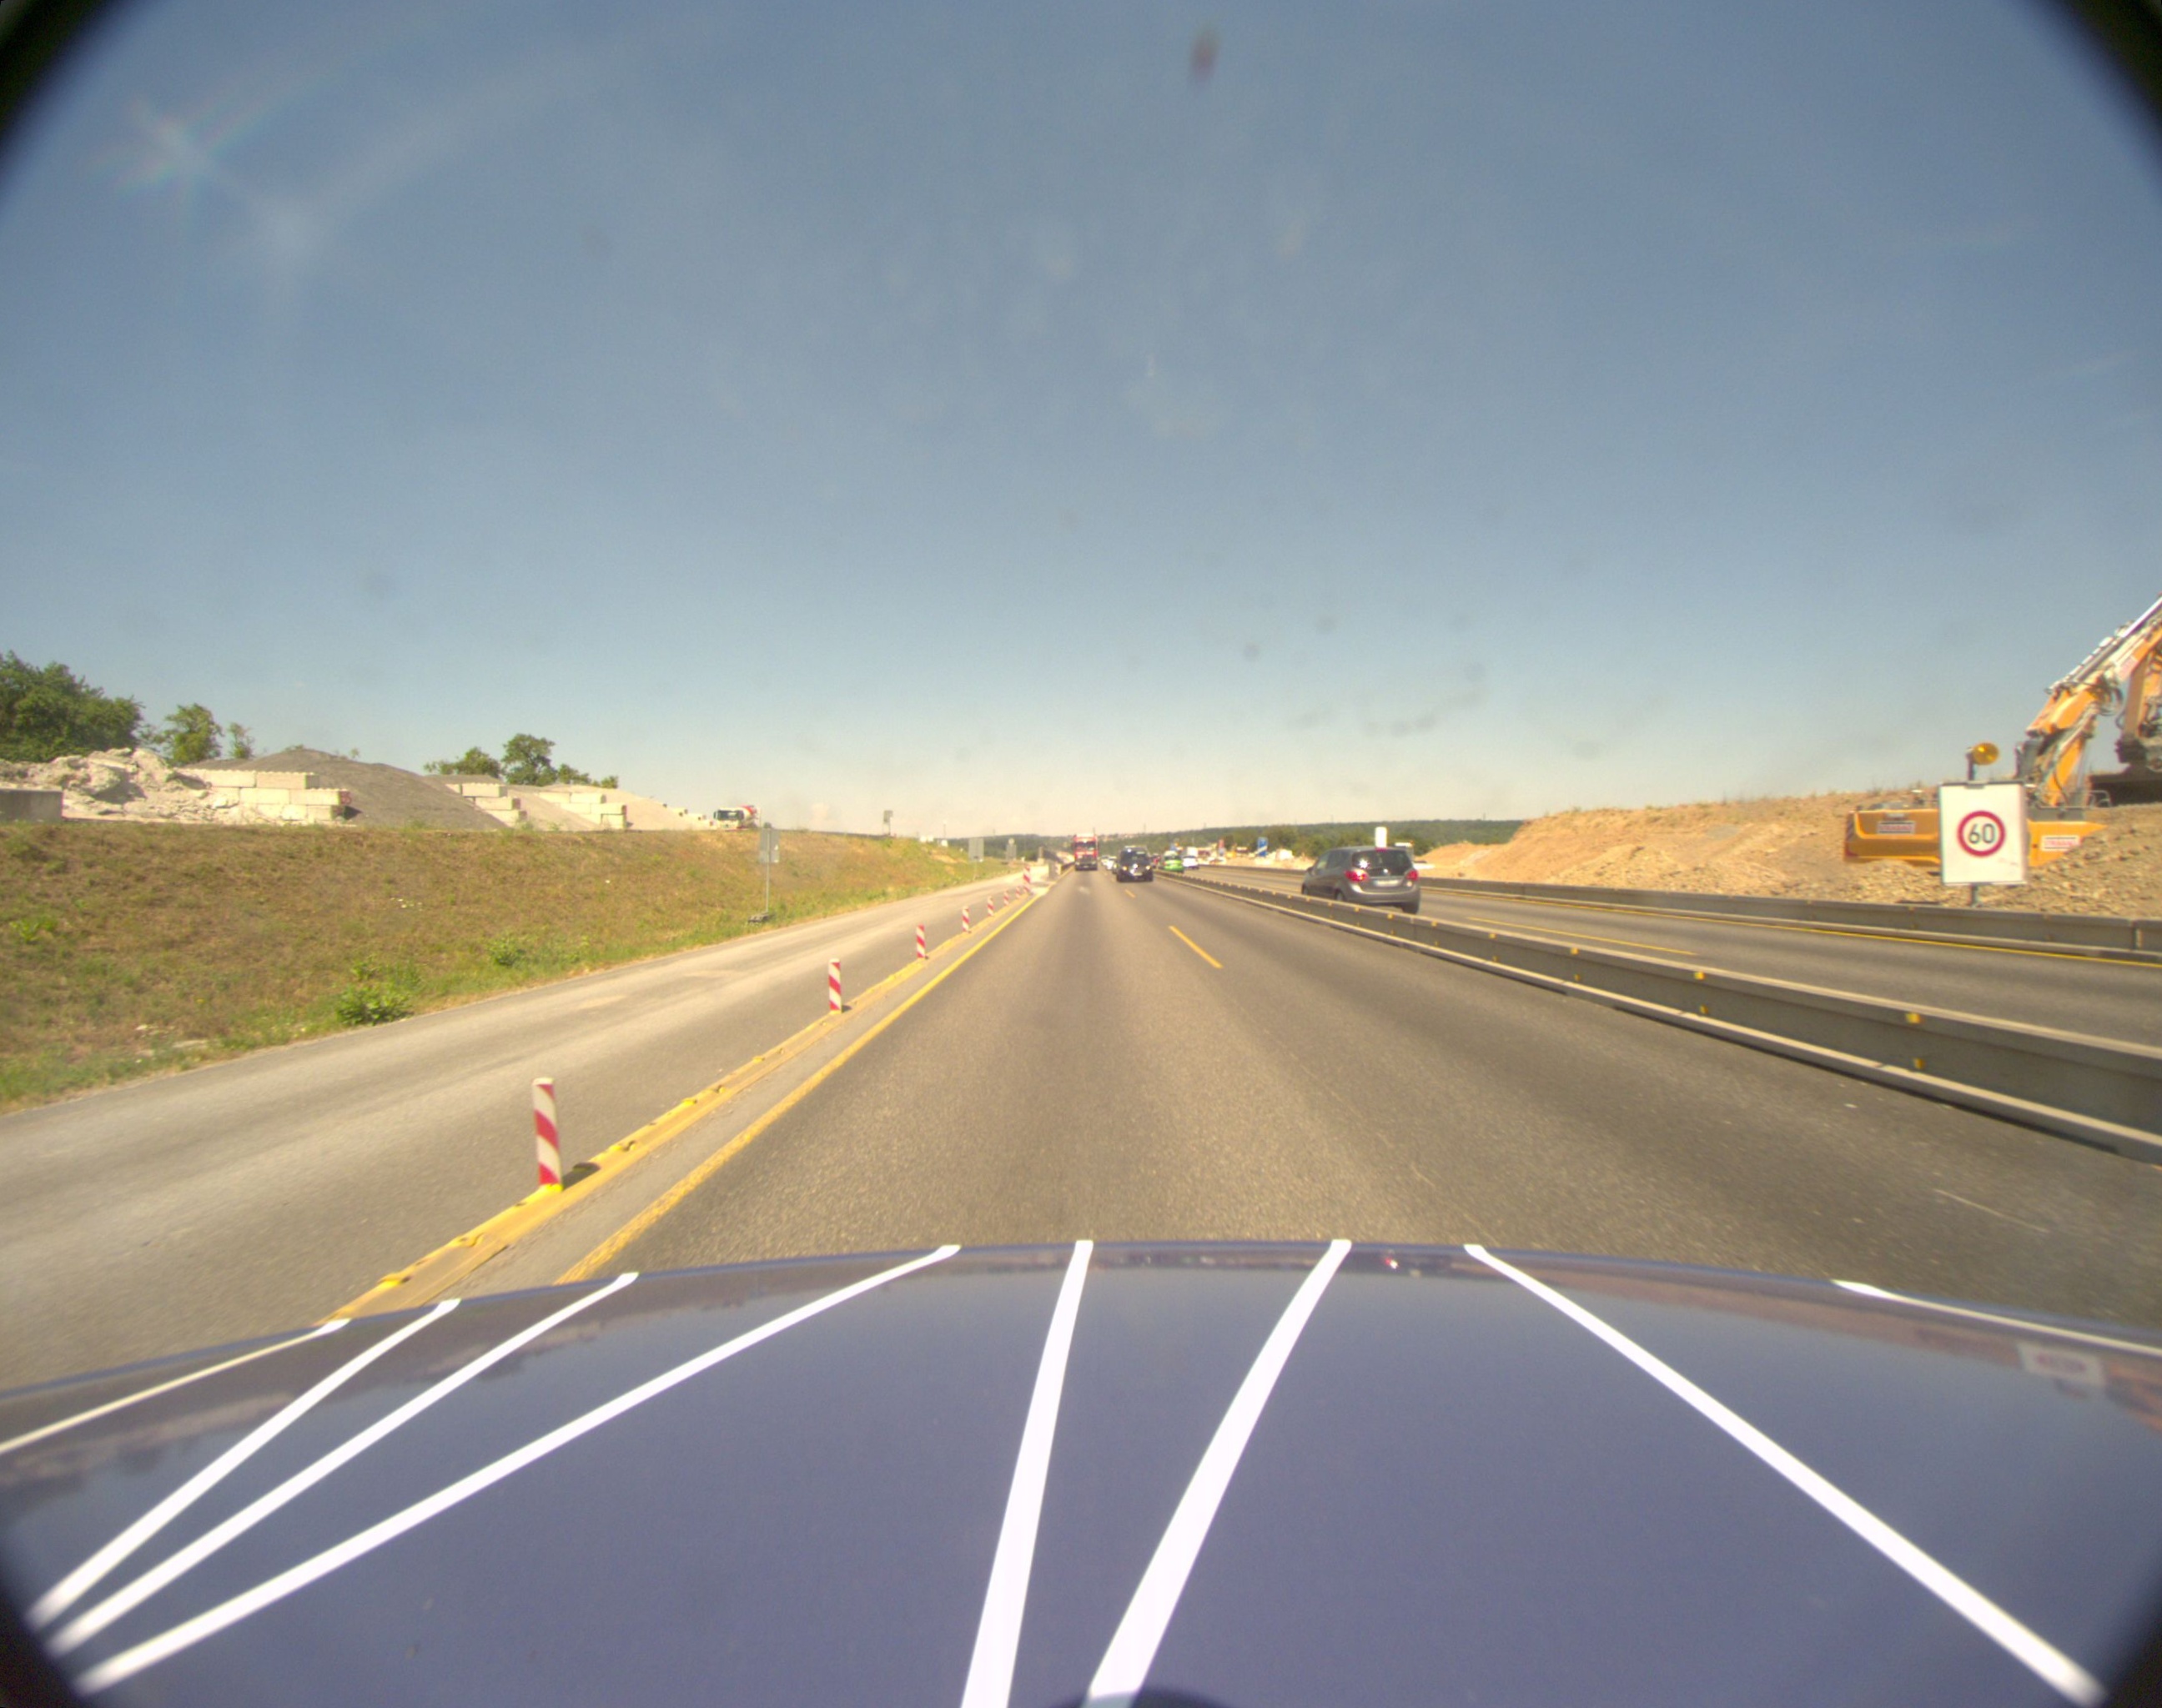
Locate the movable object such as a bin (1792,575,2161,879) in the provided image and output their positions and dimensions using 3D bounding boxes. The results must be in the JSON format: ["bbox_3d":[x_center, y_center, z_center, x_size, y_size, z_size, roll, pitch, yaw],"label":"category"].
[{"bbox_3d":[24.650,-3.099,20.287,7.378,7.073,4.081,-2,1,1],"label":"movable object such as a bin"}]

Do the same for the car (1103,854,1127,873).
[{"bbox_3d":[2.873,0.808,64.065,1.804,1.499,4.100,-2,0,0],"label":"car"}]

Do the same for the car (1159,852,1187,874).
[{"bbox_3d":[6.799,0.673,56.391,1.697,1.517,3.406,-2,0,1],"label":"car"}]

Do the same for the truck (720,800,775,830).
[{"bbox_3d":[-35.982,-4.153,82.281,2.223,2.803,9.061,-2,1,-2],"label":"truck"}]

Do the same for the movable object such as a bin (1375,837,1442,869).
[{"bbox_3d":[23.964,-0.117,55.943,2.321,2.121,6.143,-2,1,1],"label":"movable object such as a bin"}]

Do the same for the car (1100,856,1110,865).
[{"bbox_3d":[4.122,1.165,128.691,1.601,1.390,3.695,-2,1,1],"label":"car"}]

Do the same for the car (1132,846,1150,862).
[{"bbox_3d":[7.977,-0.079,101.350,1.998,2.002,3.999,-2,1,1],"label":"car"}]

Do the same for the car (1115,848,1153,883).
[{"bbox_3d":[3.062,0.602,45.087,1.878,1.840,5.478,-2,1,1],"label":"car"}]

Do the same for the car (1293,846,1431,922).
[{"bbox_3d":[6.615,0.649,18.397,1.770,1.556,4.225,-2,0,1],"label":"car"}]

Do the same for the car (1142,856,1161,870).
[{"bbox_3d":[7.612,0.963,82.088,1.707,1.393,3.406,-2,0,1],"label":"car"}]

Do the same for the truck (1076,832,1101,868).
[{"bbox_3d":[0.923,-0.469,85.918,2.537,3.798,9.481,-2,1,2],"label":"truck"}]

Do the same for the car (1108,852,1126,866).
[{"bbox_3d":[3.912,0.517,83.651,1.875,1.390,4.030,-2,1,1],"label":"car"}]
